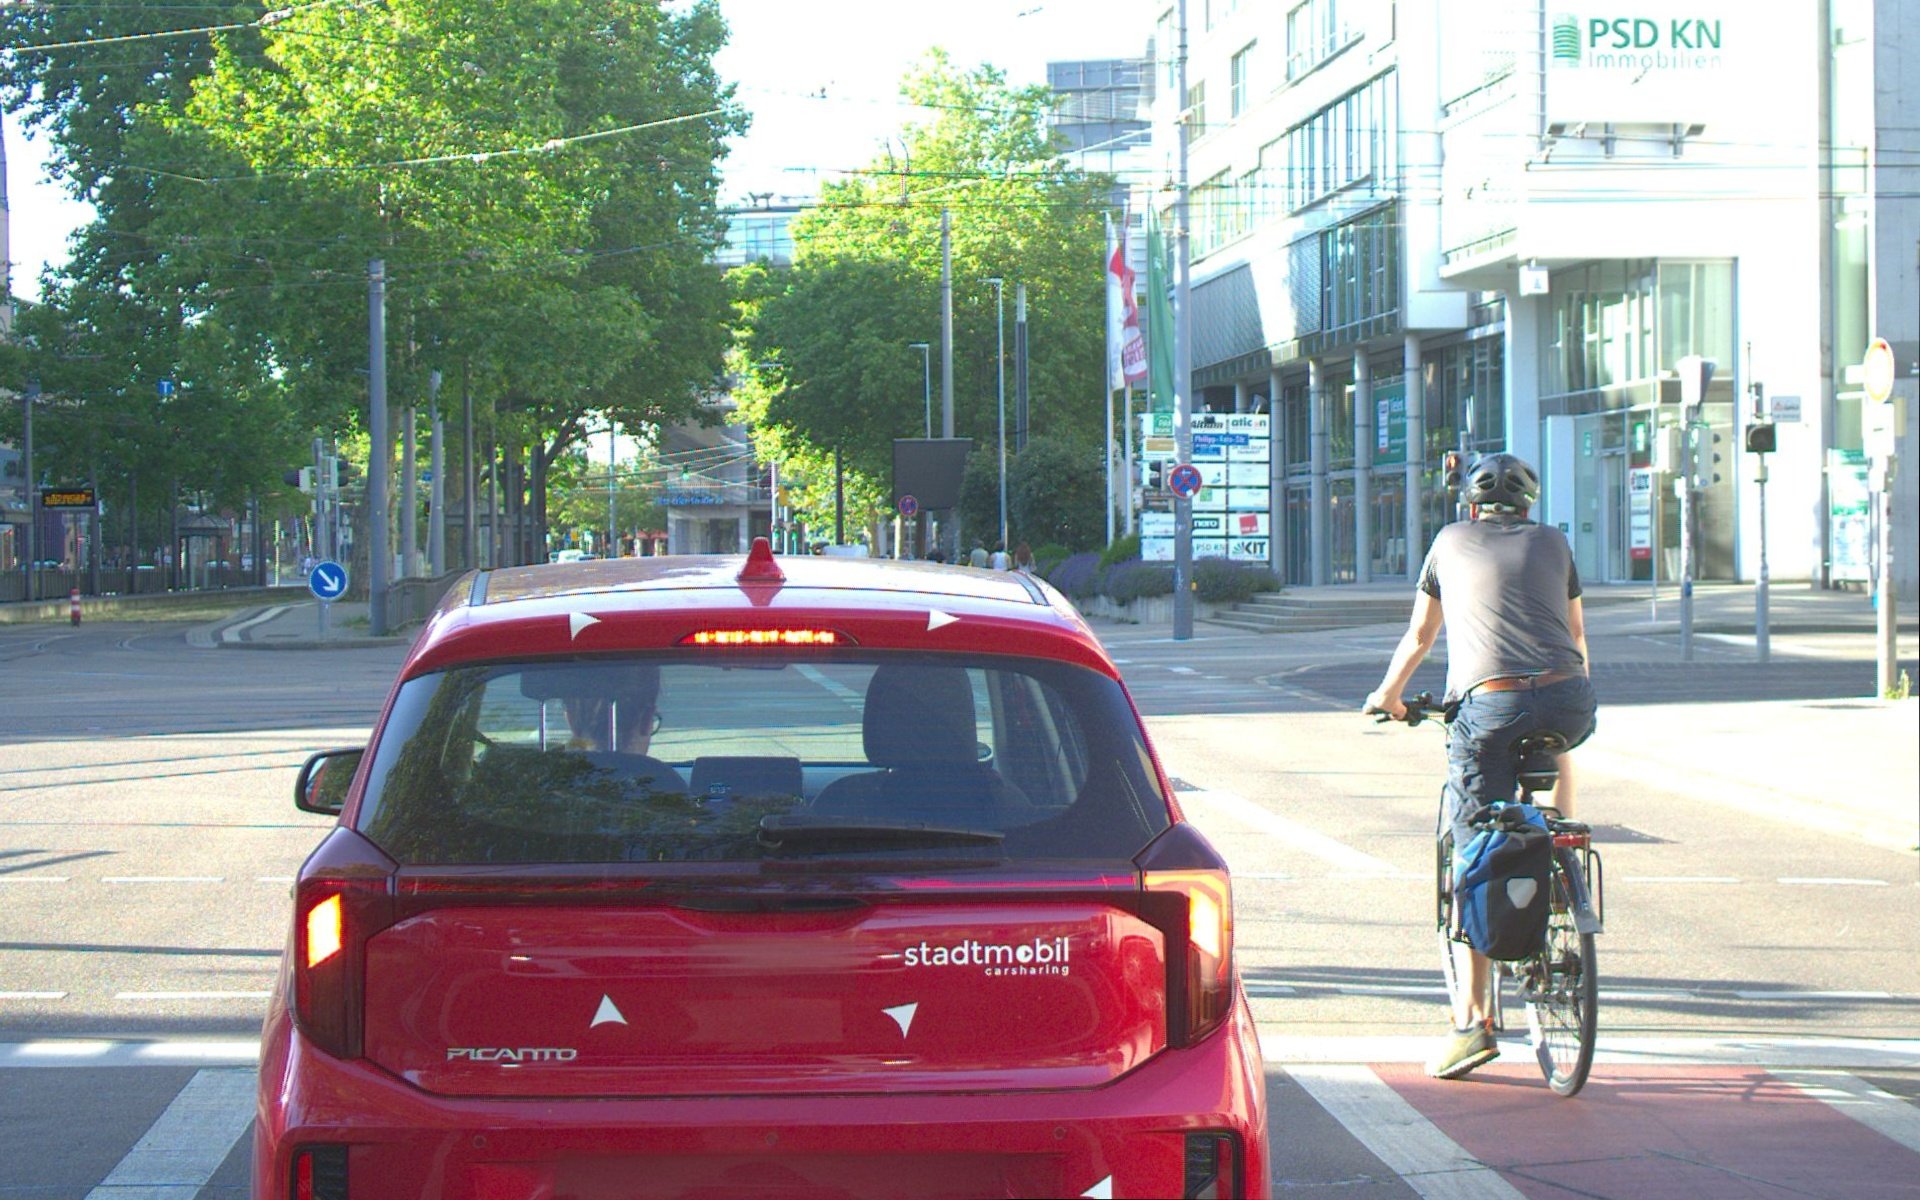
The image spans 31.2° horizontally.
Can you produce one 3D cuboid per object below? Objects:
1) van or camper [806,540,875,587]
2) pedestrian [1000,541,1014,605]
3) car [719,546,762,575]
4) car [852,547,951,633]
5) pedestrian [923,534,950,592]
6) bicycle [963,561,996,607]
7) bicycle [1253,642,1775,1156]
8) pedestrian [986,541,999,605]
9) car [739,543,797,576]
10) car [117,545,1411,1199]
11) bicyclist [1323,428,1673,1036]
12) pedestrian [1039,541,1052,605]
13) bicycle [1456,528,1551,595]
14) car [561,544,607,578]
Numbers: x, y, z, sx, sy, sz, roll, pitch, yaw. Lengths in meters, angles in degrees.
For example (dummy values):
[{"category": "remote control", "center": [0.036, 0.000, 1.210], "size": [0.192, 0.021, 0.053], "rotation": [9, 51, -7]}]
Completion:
[{"category": "van or camper", "center": [-4.605, -1.422, 132.099], "size": [2.145, 1.744, 4.433], "rotation": [-1, 1, -8]}, {"category": "pedestrian", "center": [1.141, -0.654, 83.826], "size": [0.294, 1.556, 0.356], "rotation": [-1, 1, -3]}, {"category": "car", "center": [-11.672, -2.107, 182.533], "size": [1.884, 1.523, 4.433], "rotation": [-1, 1, -8]}, {"category": "car", "center": [-1.123, -0.219, 66.650], "size": [1.843, 1.562, 4.274], "rotation": [-1, 1, -1]}, {"category": "pedestrian", "center": [-0.699, -1.087, 101.593], "size": [0.742, 1.710, 0.748], "rotation": [-1, 1, -2]}, {"category": "bicycle", "center": [0.529, -0.434, 91.637], "size": [0.792, 1.157, 2.500], "rotation": [-1, 1, 2]}, {"category": "bicycle", "center": [1.509, 0.777, 9.835], "size": [0.743, 1.220, 2.157], "rotation": [1, 1, -11]}, {"category": "pedestrian", "center": [0.791, -0.654, 83.605], "size": [0.294, 1.556, 0.302], "rotation": [-1, 1, 0]}, {"category": "car", "center": [-9.309, -1.961, 166.711], "size": [2.478, 1.523, 4.433], "rotation": [-1, 1, -7]}, {"category": "car", "center": [-0.428, 0.649, 6.772], "size": [1.839, 1.484, 3.717], "rotation": [-1, 1, -5]}, {"category": "bicyclist", "center": [1.523, 0.358, 9.832], "size": [0.743, 1.663, 0.745], "rotation": [1, 1, -11]}, {"category": "pedestrian", "center": [2.078, -0.653, 84.036], "size": [0.294, 1.556, 0.314], "rotation": [-1, 1, 1]}, {"category": "bicycle", "center": [11.849, -0.840, 74.978], "size": [1.934, 1.438, 0.575], "rotation": [-1, 1, -6]}, {"category": "car", "center": [-19.177, -1.984, 175.334], "size": [2.057, 1.648, 3.493], "rotation": [-1, 1, -10]}]
